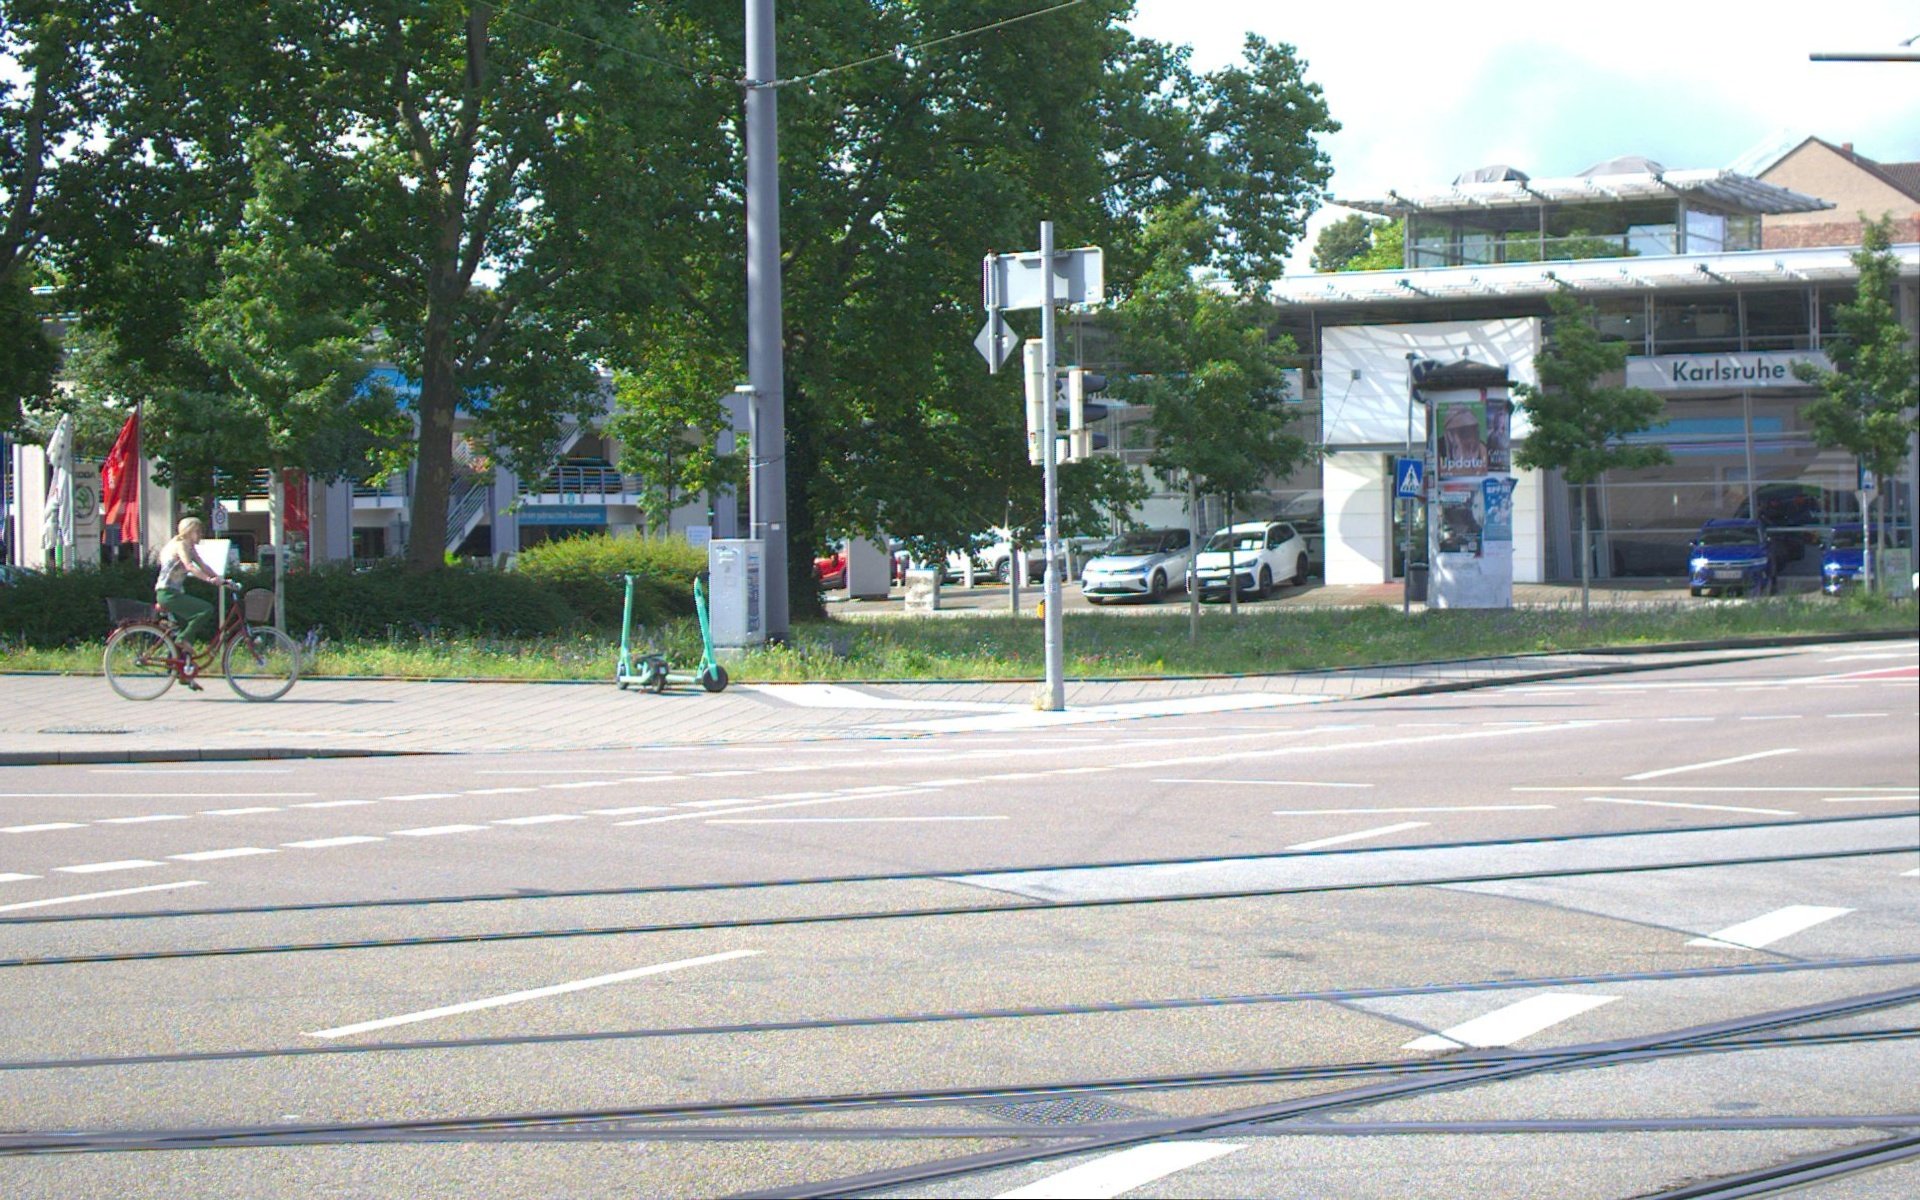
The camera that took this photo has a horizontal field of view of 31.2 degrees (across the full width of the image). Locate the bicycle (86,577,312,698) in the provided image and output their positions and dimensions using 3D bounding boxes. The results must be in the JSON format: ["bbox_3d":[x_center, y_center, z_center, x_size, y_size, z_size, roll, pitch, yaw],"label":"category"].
[{"bbox_3d":[-7.141,0.346,32.329,1.985,1.124,0.789,0,0,-4],"label":"bicycle"}]

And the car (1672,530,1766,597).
[{"bbox_3d":[16.973,-0.826,76.766,1.921,1.440,3.998,0,1,14],"label":"car"}]

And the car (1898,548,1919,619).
[{"bbox_3d":[20.540,-0.323,65.996,4.541,1.349,1.997,0,0,28],"label":"car"}]

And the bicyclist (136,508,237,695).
[{"bbox_3d":[-7.277,0.018,32.357,0.825,1.739,0.712,0,0,-4],"label":"bicyclist"}]

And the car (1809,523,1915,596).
[{"bbox_3d":[19.682,-0.906,74.902,1.921,1.439,3.997,2,3,19],"label":"car"}]

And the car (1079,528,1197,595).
[{"bbox_3d":[4.346,-0.920,83.201,1.995,1.568,3.997,0,0,16],"label":"car"}]

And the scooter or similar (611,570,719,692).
[{"bbox_3d":[-2.868,0.302,33.461,0.926,1.154,0.382,1,3,-31],"label":"scooter or similar"}]

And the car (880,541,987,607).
[{"bbox_3d":[-0.631,-0.634,85.705,1.682,1.590,3.997,0,0,15],"label":"car"}]

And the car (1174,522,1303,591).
[{"bbox_3d":[6.673,-1.052,82.068,2.069,1.598,3.996,0,1,20],"label":"car"}]

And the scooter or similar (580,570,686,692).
[{"bbox_3d":[-3.228,0.302,33.932,0.926,1.154,0.382,2,3,-20],"label":"scooter or similar"}]
